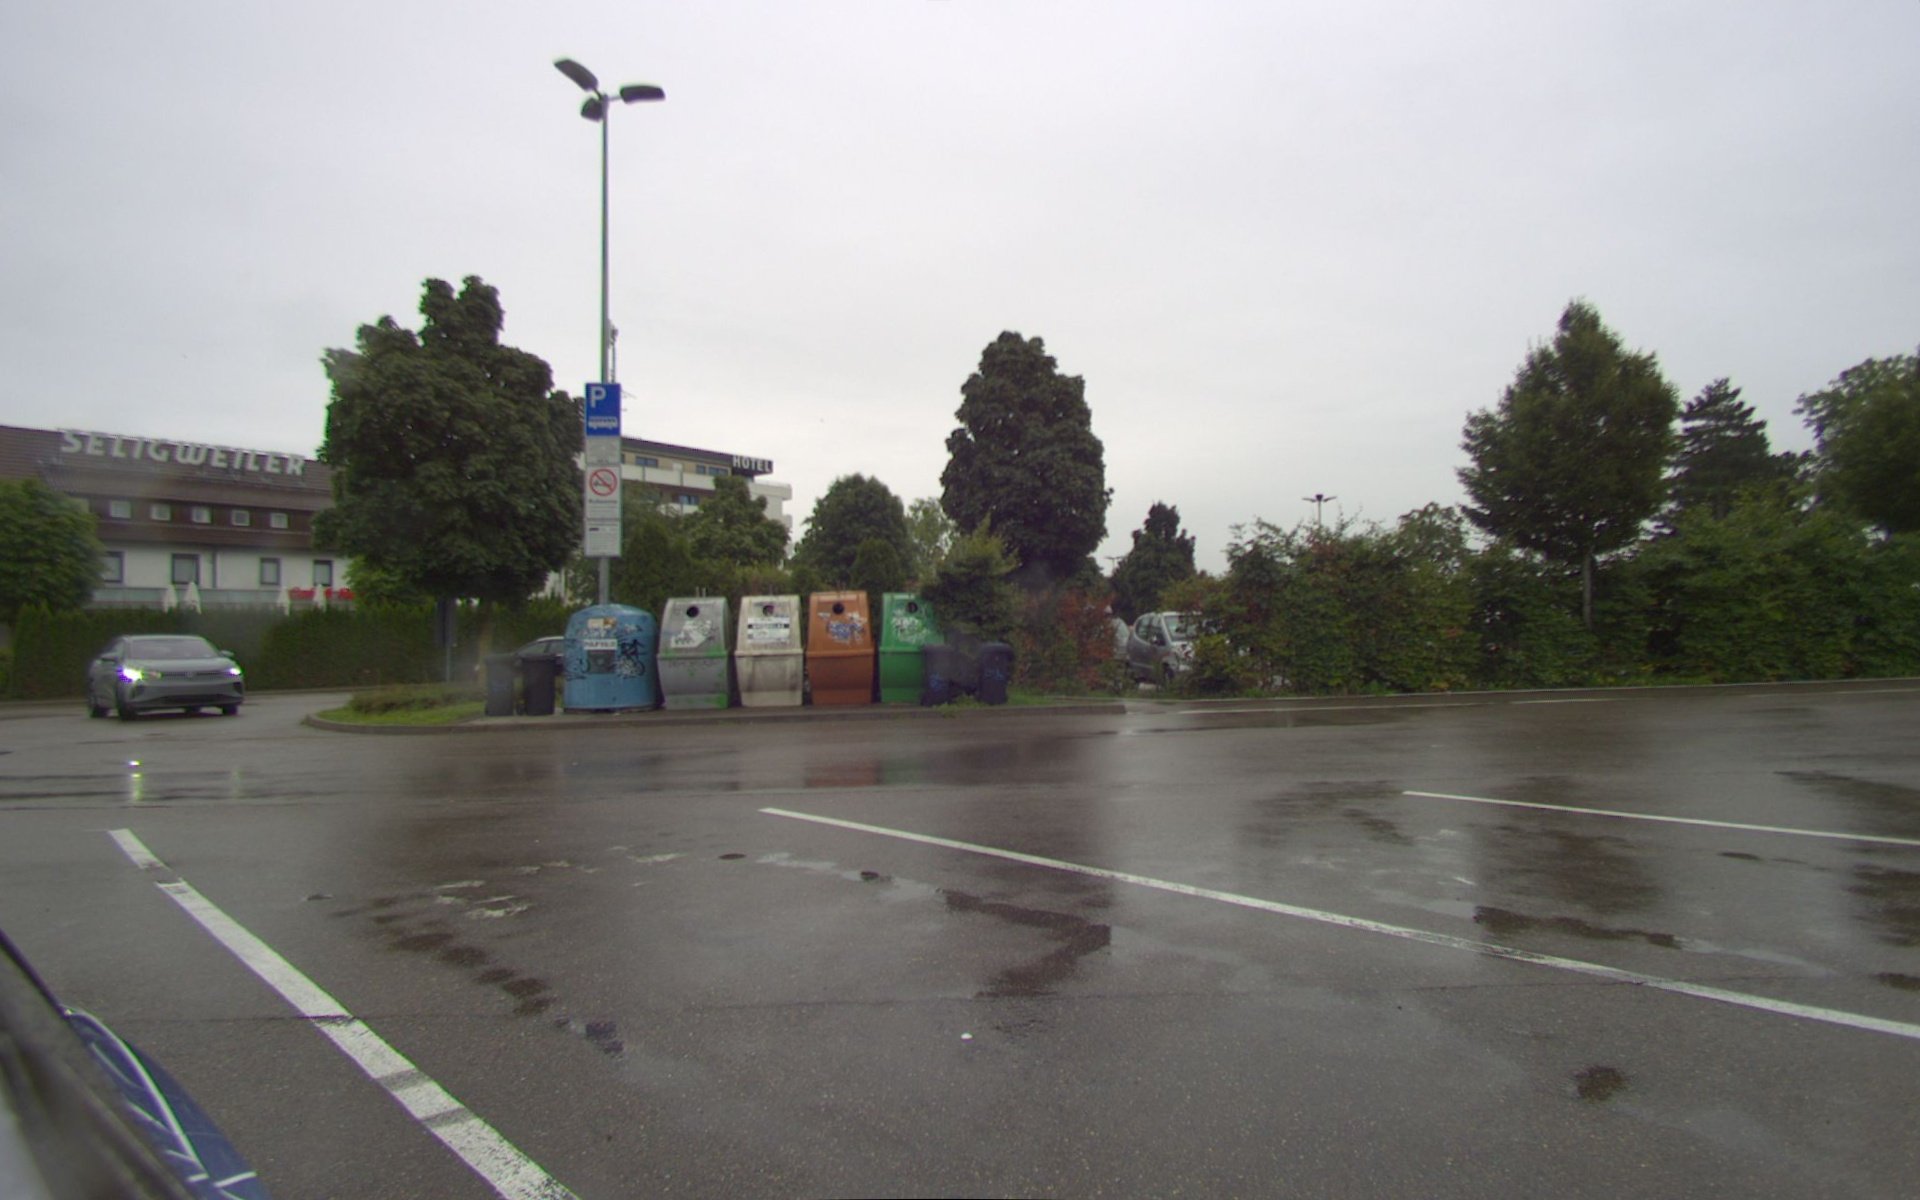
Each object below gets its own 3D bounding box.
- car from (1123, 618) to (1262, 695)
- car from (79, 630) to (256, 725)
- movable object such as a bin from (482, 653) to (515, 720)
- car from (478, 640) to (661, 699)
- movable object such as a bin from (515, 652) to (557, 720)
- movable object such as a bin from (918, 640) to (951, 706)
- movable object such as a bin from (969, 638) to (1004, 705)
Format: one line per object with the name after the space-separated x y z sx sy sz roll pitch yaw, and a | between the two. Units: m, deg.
4.354 1.019 19.504 1.783 1.278 3.647 -2 -1 0 | car
-15.663 1.468 19.924 4.498 1.586 1.972 -3 -2 42 | car
-6.847 1.272 15.015 0.427 0.956 0.474 -1 -1 -25 | movable object such as a bin
-10.544 1.868 27.459 4.279 1.460 1.865 -2 -3 8 | car
-6.268 1.260 14.956 0.450 0.956 0.400 -3 -1 41 | movable object such as a bin
-0.372 1.056 14.798 0.432 0.930 0.508 -2 -3 1 | movable object such as a bin
0.378 1.022 14.531 0.432 0.923 0.509 -2 -2 -1 | movable object such as a bin
